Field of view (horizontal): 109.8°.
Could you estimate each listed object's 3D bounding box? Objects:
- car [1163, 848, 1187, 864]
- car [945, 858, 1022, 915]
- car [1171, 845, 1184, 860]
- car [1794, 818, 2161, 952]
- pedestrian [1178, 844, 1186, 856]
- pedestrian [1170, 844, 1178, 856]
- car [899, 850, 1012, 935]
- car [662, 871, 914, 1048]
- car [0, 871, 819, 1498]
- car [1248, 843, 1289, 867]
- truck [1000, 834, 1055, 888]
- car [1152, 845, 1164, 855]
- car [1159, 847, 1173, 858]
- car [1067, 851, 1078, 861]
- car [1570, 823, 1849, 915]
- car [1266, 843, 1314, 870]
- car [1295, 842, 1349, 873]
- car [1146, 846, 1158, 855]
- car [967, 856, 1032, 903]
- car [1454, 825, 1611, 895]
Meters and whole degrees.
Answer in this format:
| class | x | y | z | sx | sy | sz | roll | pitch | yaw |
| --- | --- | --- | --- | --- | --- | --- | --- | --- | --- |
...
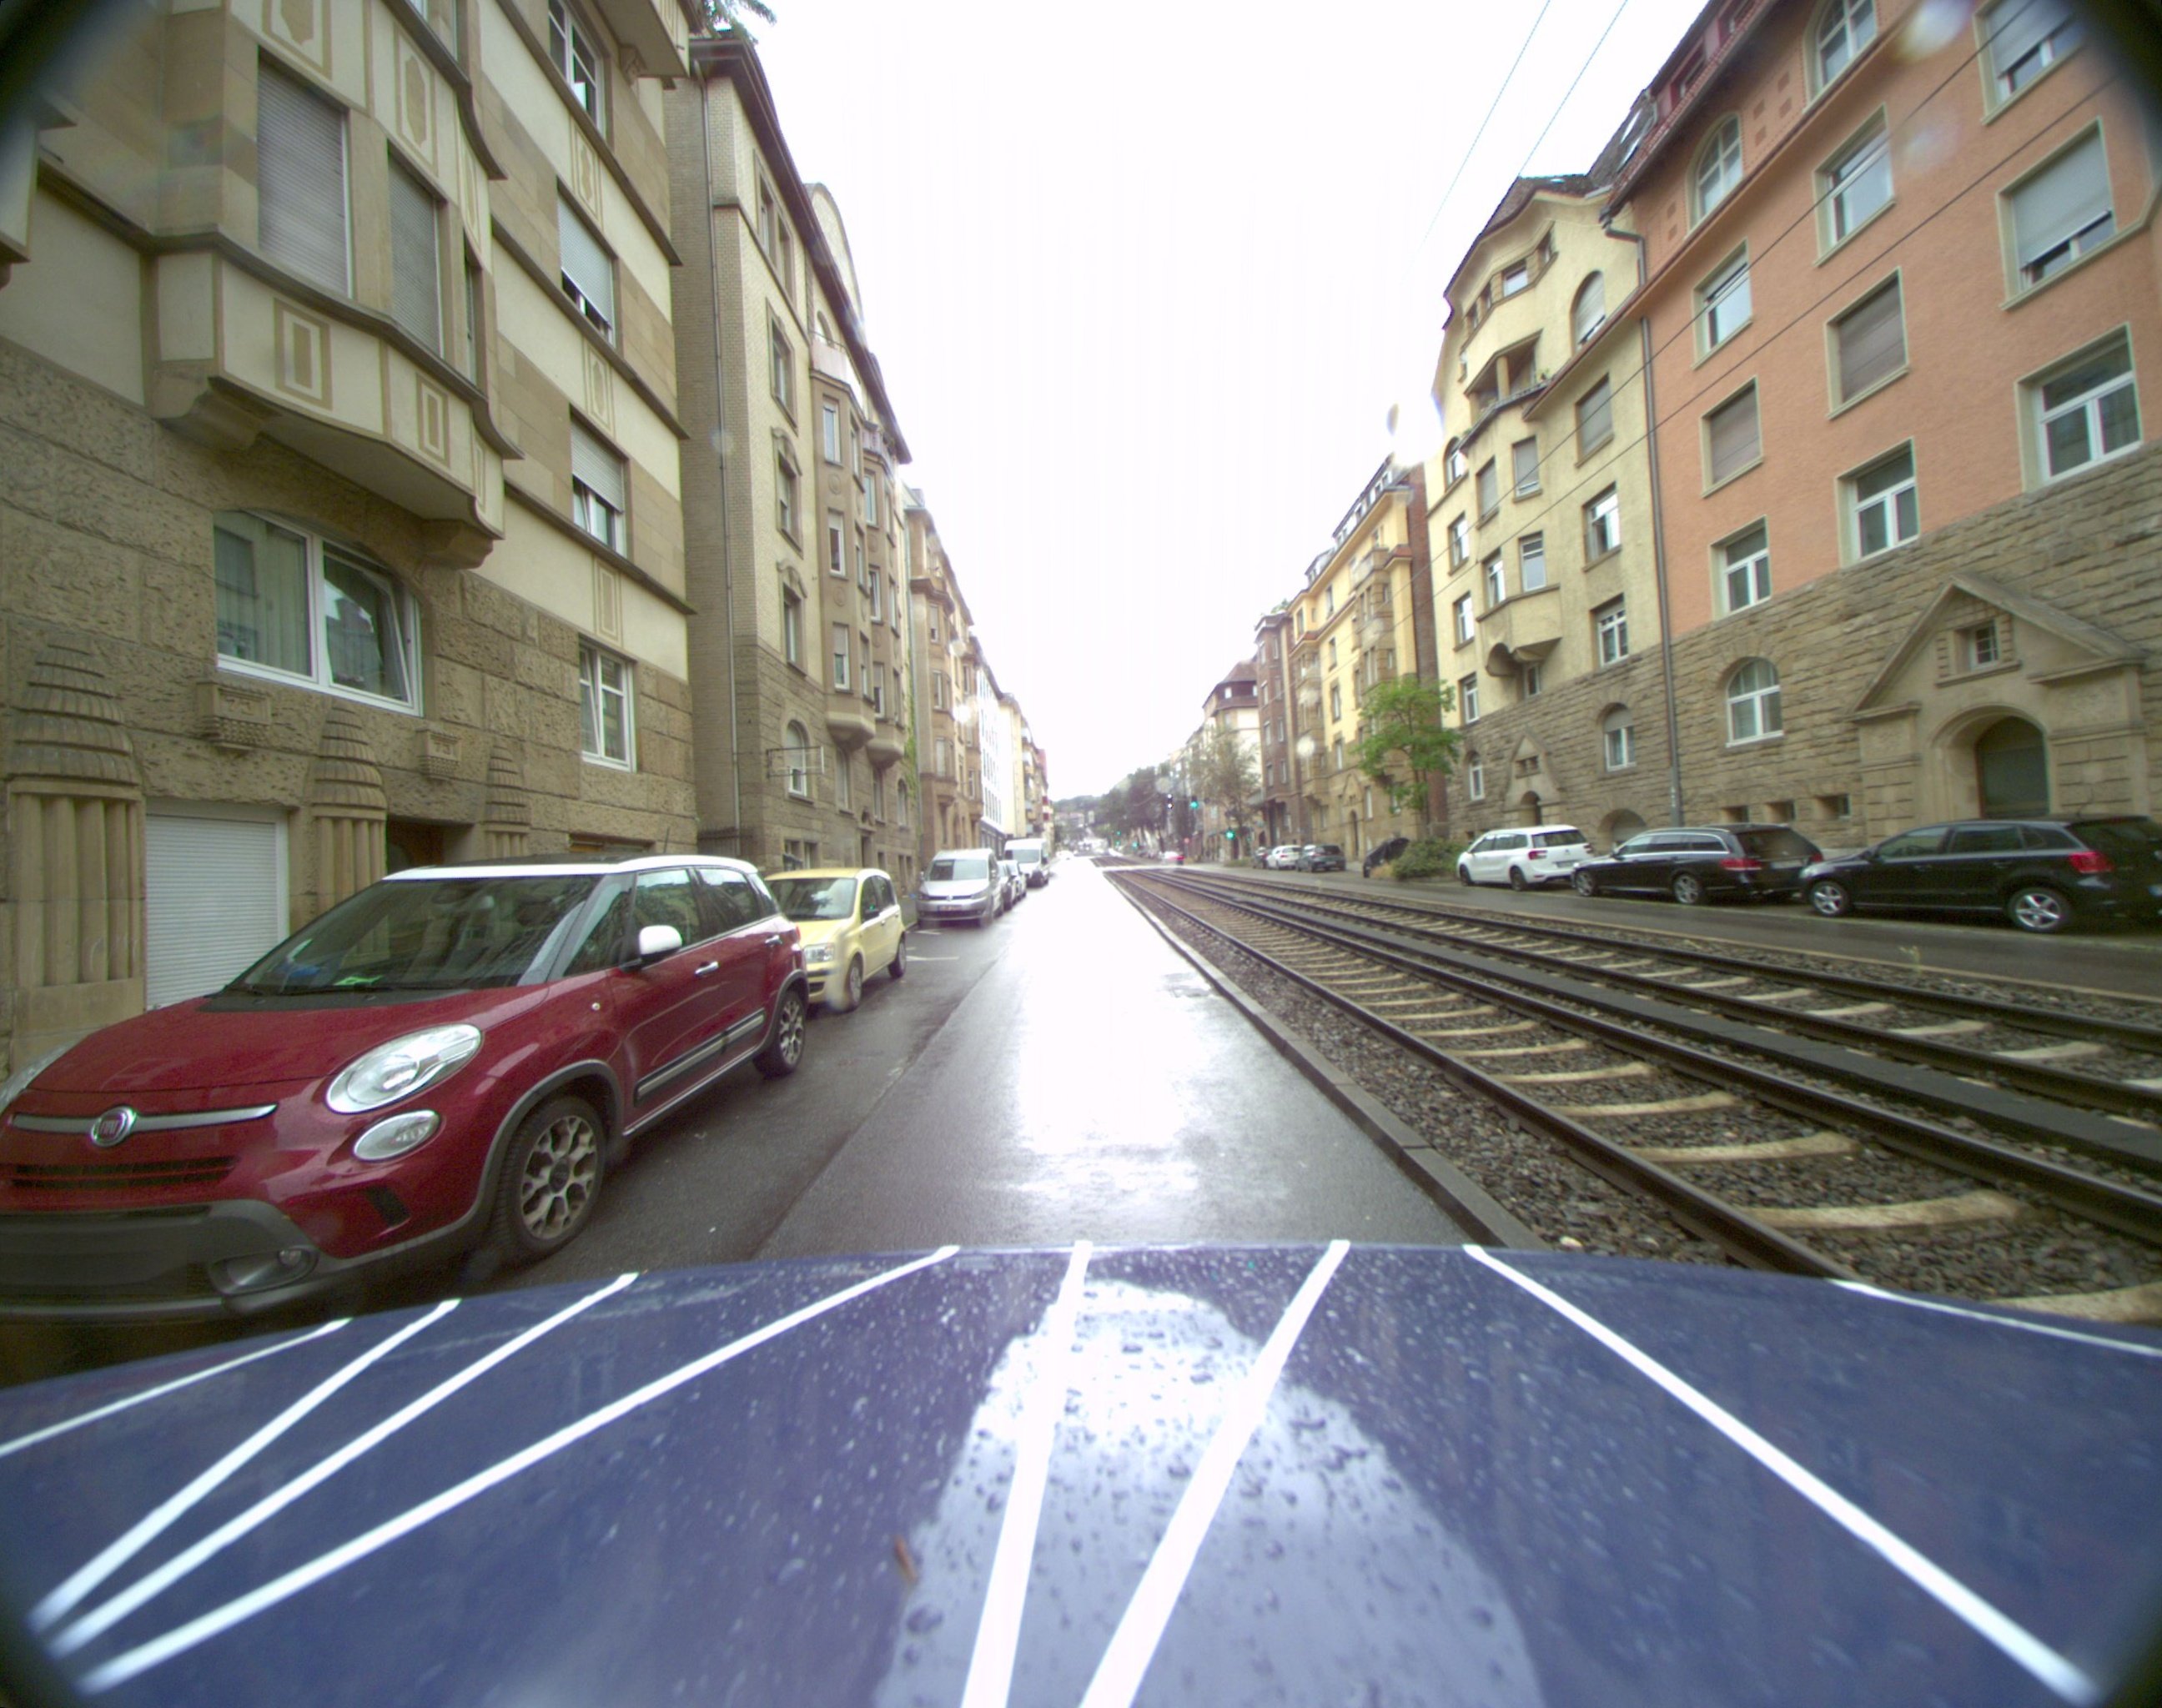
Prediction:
| class | x | y | z | sx | sy | sz | roll | pitch | yaw |
| --- | --- | --- | --- | --- | --- | --- | --- | --- | --- |
| car | 9.846 | 0.224 | 79.997 | 1.808 | 1.514 | 4.964 | -3 | 0 | 0 |
| car | -2.955 | 0.945 | 23.815 | 1.999 | 1.521 | 3.999 | -3 | 0 | -3 |
| car | 12.689 | -0.230 | 99.543 | 1.583 | 1.669 | 3.790 | -3 | 2 | 7 |
| car | 12.536 | 0.319 | 10.464 | 1.935 | 1.488 | 3.642 | -2 | 1 | -2 |
| pedestrian | 16.359 | -0.674 | 123.325 | 1.056 | 1.946 | 1.163 | -3 | 1 | 2 |
| pedestrian | 15.123 | -0.628 | 123.335 | 1.056 | 1.946 | 1.163 | -3 | 1 | 2 |
| car | -3.002 | 0.854 | 19.198 | 1.968 | 1.792 | 4.459 | -3 | 0 | 1 |
| car | -3.182 | 1.046 | 9.040 | 1.580 | 1.520 | 3.578 | -3 | 0 | -1 |
| car | -3.026 | 0.983 | 4.091 | 1.807 | 1.590 | 3.999 | -3 | 0 | -1 |
| car | 12.494 | 0.073 | 50.745 | 1.771 | 1.433 | 3.845 | -3 | 0 | 1 |
| truck | -2.713 | 0.349 | 39.945 | 2.235 | 2.521 | 6.143 | -3 | 0 | 1 |
| car | 12.858 | -0.629 | 126.833 | 1.657 | 1.589 | 3.775 | -3 | 0 | 1 |
| car | 12.888 | -0.272 | 115.363 | 1.771 | 1.507 | 3.845 | -3 | 0 | 1 |
| car | -1.596 | 0.382 | 148.678 | 1.998 | 1.838 | 4.000 | -3 | 0 | 1 |
| car | 12.299 | 0.252 | 15.382 | 1.847 | 1.486 | 4.601 | -3 | 0 | 1 |
| car | 12.483 | 0.125 | 45.651 | 1.771 | 1.433 | 4.031 | -3 | 0 | 2 |
| car | 12.515 | 0.136 | 39.612 | 1.678 | 1.433 | 3.845 | -4 | 1 | 3 |
| car | 12.455 | -0.628 | 133.702 | 1.632 | 1.537 | 3.801 | -3 | 0 | 1 |
| car | -2.943 | 0.887 | 28.316 | 1.891 | 1.521 | 3.929 | -3 | 0 | 1 |
| car | 12.281 | 0.140 | 21.044 | 1.867 | 1.646 | 4.146 | -3 | 0 | 1 |
